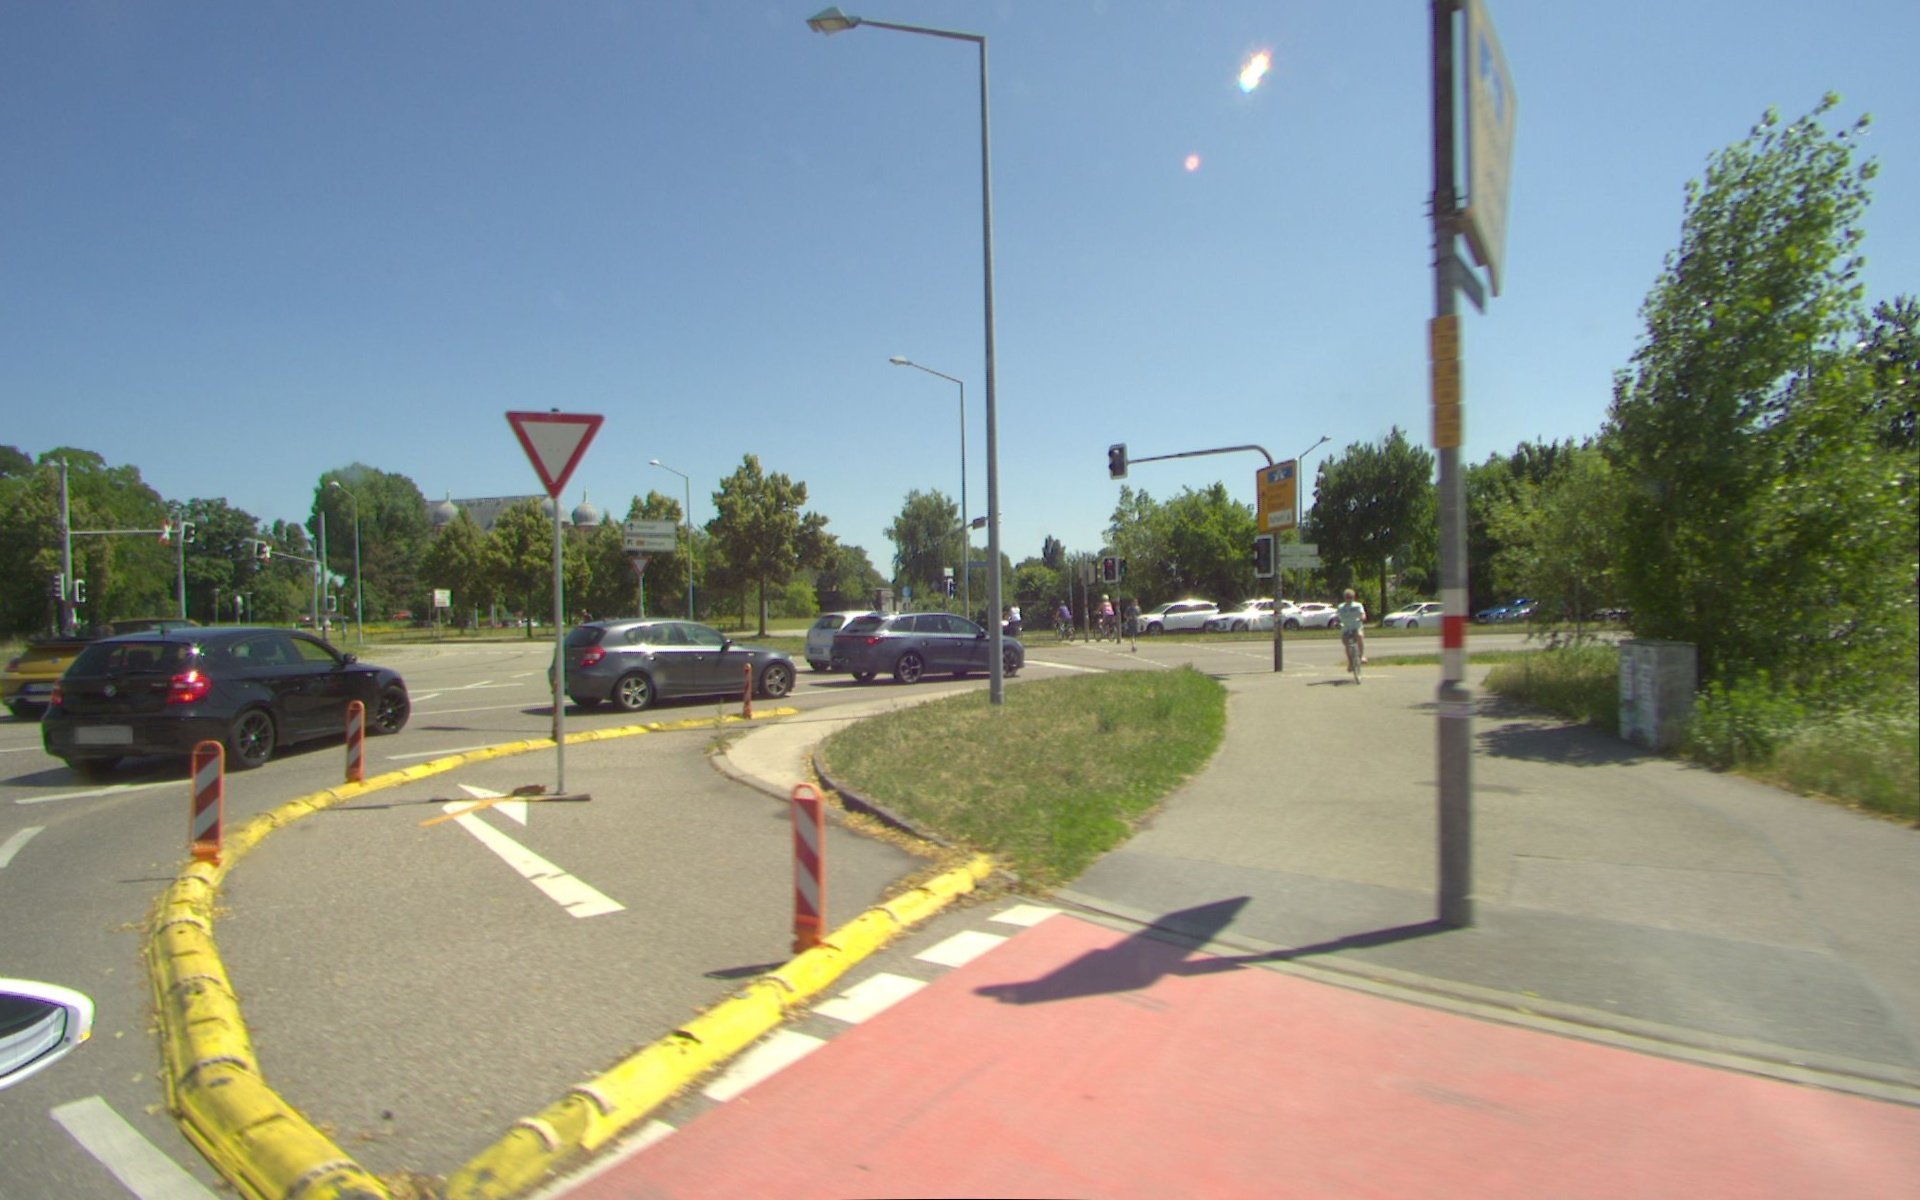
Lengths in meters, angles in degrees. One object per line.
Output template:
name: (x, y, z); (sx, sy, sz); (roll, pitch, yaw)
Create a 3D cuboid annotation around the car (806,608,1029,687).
car: (-0.822, 0.933, 21.136); (4.404, 1.437, 1.984); (-1, 0, -39)

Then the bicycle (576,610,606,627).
bicycle: (-25.554, 1.293, 69.350); (2.024, 1.129, 0.728); (-1, -1, 23)

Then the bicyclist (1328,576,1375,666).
bicyclist: (7.465, 0.395, 19.084); (0.737, 1.662, 1.159); (-1, 1, 26)

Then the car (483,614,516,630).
car: (-63.491, 3.031, 138.224); (3.930, 2.039, 1.997); (0, -2, -18)

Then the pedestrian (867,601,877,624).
pedestrian: (-6.855, 0.984, 77.672); (0.564, 1.753, 0.674); (-1, -1, 16)

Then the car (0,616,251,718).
car: (-13.239, 0.982, 15.864); (1.797, 1.421, 3.661); (0, -1, -8)

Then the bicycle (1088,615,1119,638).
bicycle: (5.877, 1.104, 41.114); (0.881, 0.912, 2.227); (1, -1, -1)

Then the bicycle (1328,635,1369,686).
bicycle: (7.422, 1.131, 19.103); (0.618, 0.890, 1.870); (-1, -1, 24)

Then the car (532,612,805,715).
car: (-4.711, 0.947, 16.591); (1.734, 1.422, 4.045); (0, 1, 43)

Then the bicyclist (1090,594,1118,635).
bicyclist: (5.884, 0.612, 41.062); (0.941, 1.630, 1.186); (-1, -1, -1)

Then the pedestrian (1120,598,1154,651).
pedestrian: (5.658, 0.792, 32.060); (0.743, 1.658, 0.955); (0, -1, -14)

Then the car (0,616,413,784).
car: (-7.993, 0.933, 10.993); (1.768, 1.459, 4.000); (0, 0, 0)

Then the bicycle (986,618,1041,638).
bicycle: (2.503, 1.335, 47.522); (0.733, 0.924, 2.902); (1, -2, -43)

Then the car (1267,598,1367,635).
car: (17.393, 0.796, 48.813); (4.328, 1.705, 1.862); (-1, 0, -15)

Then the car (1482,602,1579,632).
car: (29.669, 0.875, 52.074); (4.328, 1.441, 1.862); (-1, 0, -15)

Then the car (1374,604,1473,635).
car: (23.312, 0.960, 50.379); (4.328, 1.441, 1.862); (-1, 0, -15)

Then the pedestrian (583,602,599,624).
pedestrian: (-25.545, 0.905, 69.308); (0.804, 1.469, 0.708); (-1, -1, 23)

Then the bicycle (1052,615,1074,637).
bicycle: (4.454, 1.114, 43.343); (0.881, 0.912, 1.762); (1, 1, 5)

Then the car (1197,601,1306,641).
car: (12.925, 0.904, 44.445); (4.328, 1.705, 1.862); (-1, 0, -15)

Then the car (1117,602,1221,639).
car: (9.626, 0.931, 46.248); (4.328, 1.639, 1.862); (-1, 0, -15)

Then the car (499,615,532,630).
car: (-63.515, 3.208, 143.203); (3.925, 2.039, 1.999); (0, -2, -11)

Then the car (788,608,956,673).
car: (-2.140, 0.953, 25.034); (3.959, 1.441, 1.765); (-1, 0, -43)

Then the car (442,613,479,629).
car: (-64.815, 2.749, 129.975); (3.930, 2.039, 1.997); (0, -2, -18)

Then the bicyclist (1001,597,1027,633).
bicyclist: (2.572, 0.719, 47.448); (0.749, 1.634, 0.969); (1, -2, -43)

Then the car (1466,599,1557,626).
car: (30.520, 0.673, 55.426); (4.328, 1.441, 1.862); (-1, 0, -15)

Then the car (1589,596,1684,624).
car: (36.093, 0.521, 53.456); (4.328, 1.441, 1.862); (-1, 0, -15)

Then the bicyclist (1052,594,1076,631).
bicyclist: (4.487, 0.521, 43.283); (0.941, 1.552, 1.185); (-1, 1, 4)
